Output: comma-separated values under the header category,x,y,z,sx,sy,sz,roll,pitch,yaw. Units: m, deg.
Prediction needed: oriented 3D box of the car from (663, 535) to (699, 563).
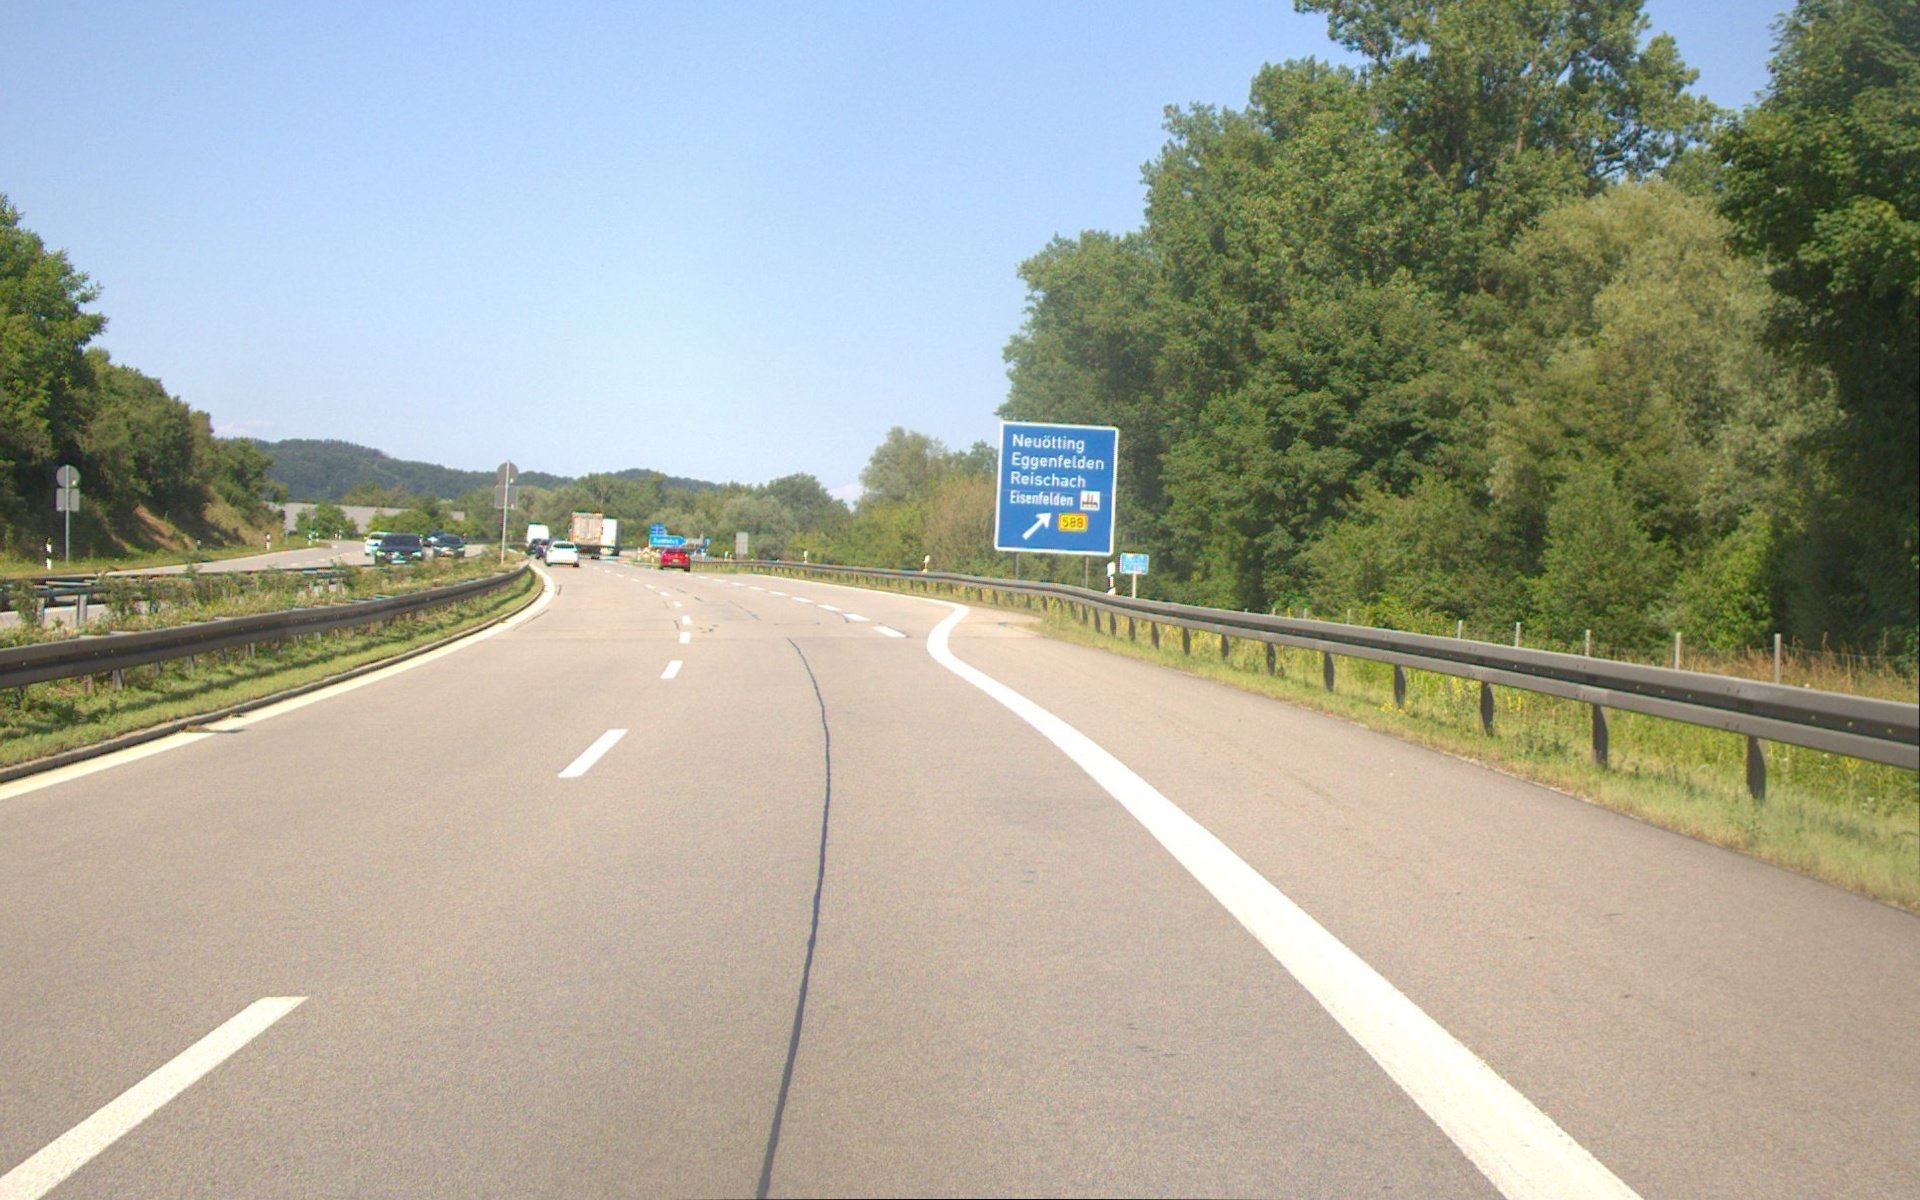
category,x,y,z,sx,sy,sz,roll,pitch,yaw
car,-16.581,-3.050,204.688,1.784,1.426,4.000,5,0,-1

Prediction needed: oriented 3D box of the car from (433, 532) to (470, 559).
category,x,y,z,sx,sy,sz,roll,pitch,yaw
car,-29.800,-3.202,201.709,1.993,1.540,4.677,0,1,-7

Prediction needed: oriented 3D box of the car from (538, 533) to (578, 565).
category,x,y,z,sx,sy,sz,roll,pitch,yaw
car,-22.552,-2.836,192.734,2.061,1.619,4.001,1,-1,-8

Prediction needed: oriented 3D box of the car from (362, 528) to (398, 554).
category,x,y,z,sx,sy,sz,roll,pitch,yaw
car,-34.193,-3.504,202.742,1.839,1.434,4.414,1,1,-7

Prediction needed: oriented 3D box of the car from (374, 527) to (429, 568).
category,x,y,z,sx,sy,sz,roll,pitch,yaw
car,-21.281,-1.994,131.234,1.644,1.450,4.908,1,0,-4
